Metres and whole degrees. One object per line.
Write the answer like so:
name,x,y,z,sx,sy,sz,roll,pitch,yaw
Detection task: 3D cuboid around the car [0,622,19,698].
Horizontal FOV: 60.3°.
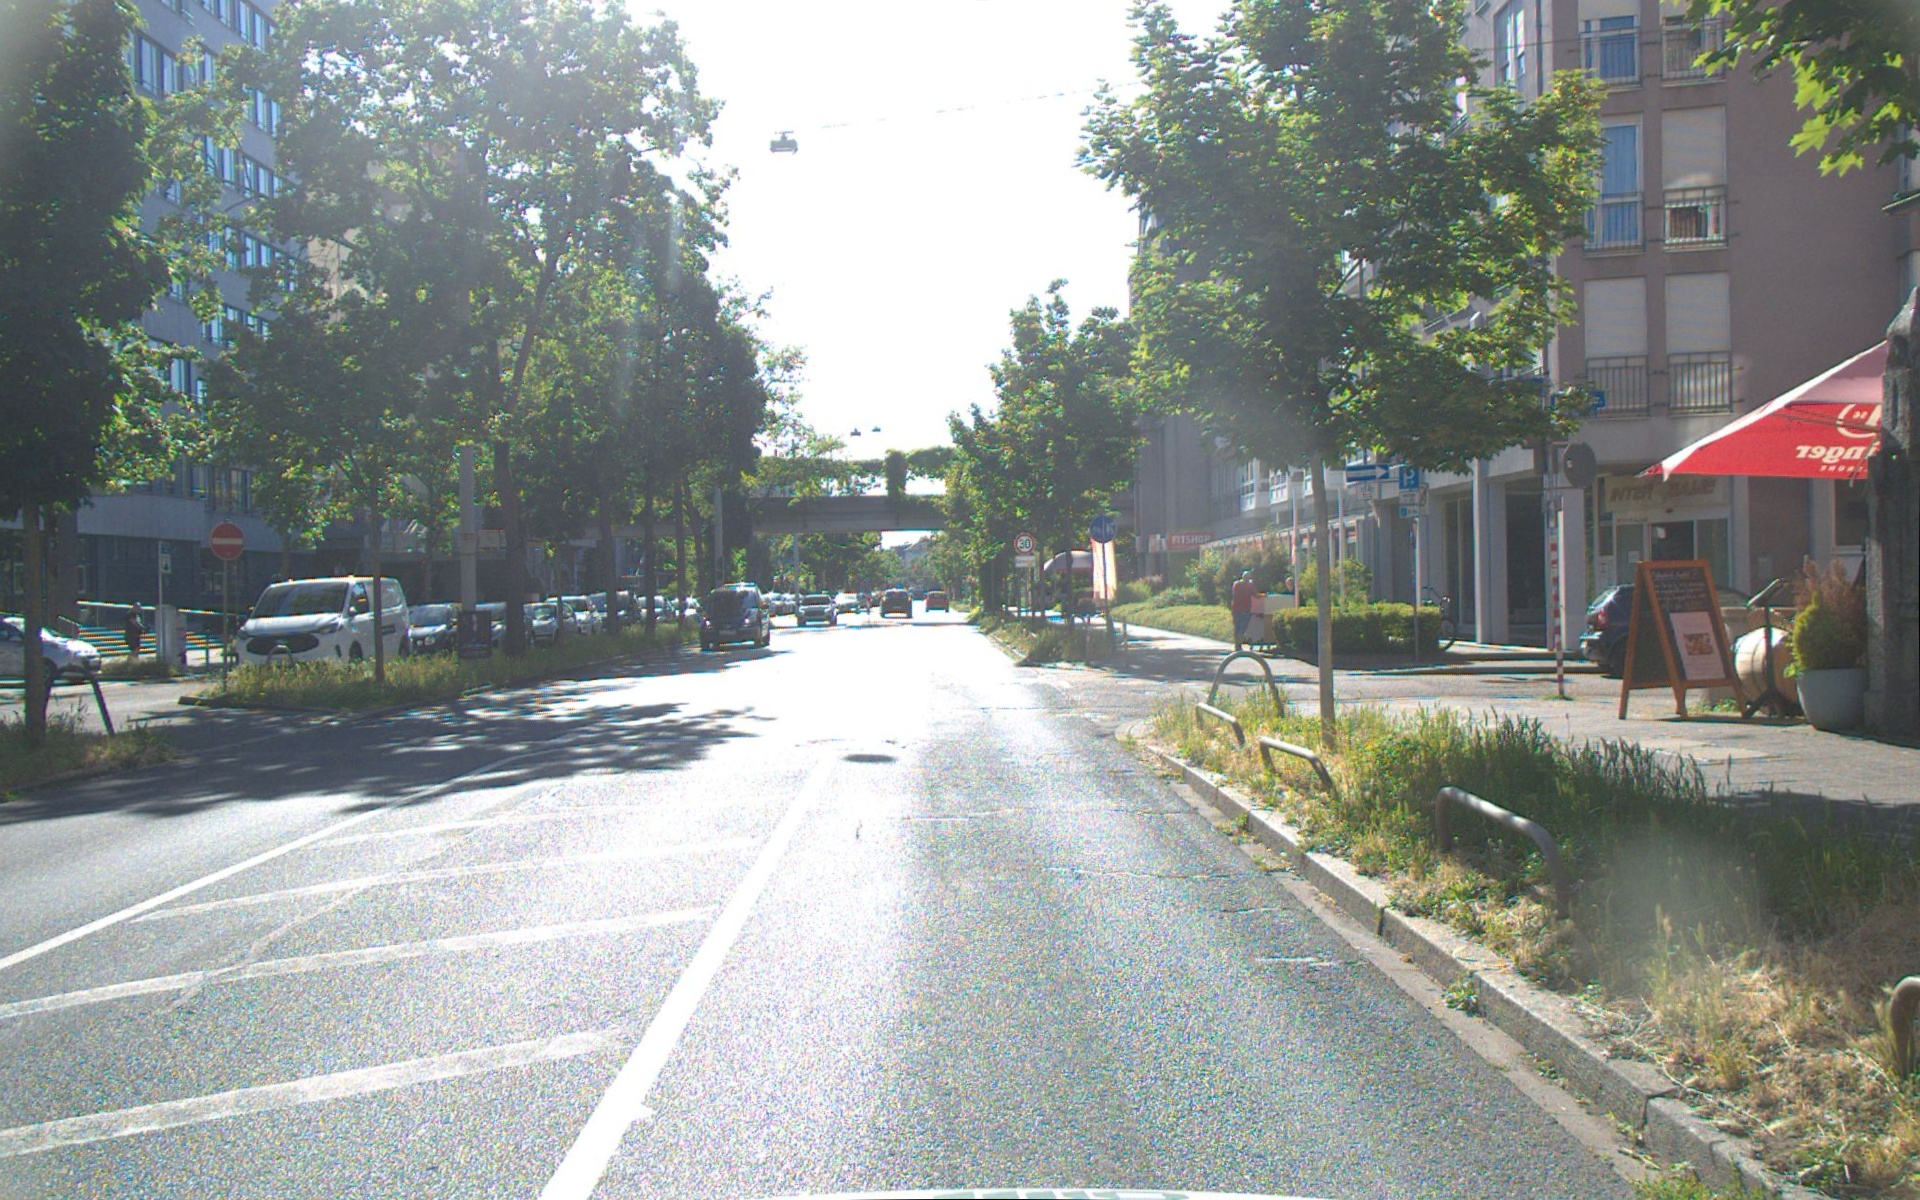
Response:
car,-20.988,1.169,31.988,4.516,1.468,1.938,0,0,4

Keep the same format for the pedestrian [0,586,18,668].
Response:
pedestrian,-25.258,0.708,43.234,0.755,2.130,0.792,1,-1,0

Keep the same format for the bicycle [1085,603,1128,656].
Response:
bicycle,3.148,0.611,35.448,0.578,1.084,2.024,0,0,15

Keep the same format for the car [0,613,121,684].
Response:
car,-21.537,1.077,37.337,4.219,1.549,1.860,0,0,-4

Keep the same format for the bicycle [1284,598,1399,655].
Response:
bicycle,7.703,0.537,33.458,2.150,1.045,0.687,-2,2,0

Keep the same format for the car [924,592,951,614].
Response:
car,-1.613,0.182,120.204,1.817,1.549,4.318,0,0,0

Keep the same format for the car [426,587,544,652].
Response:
car,-11.927,0.459,41.792,1.818,1.549,4.317,0,0,-2

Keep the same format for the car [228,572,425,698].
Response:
car,-11.838,0.602,31.317,1.942,2.112,5.192,-2,0,-4

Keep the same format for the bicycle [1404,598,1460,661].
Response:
bicycle,8.927,0.532,31.339,0.670,1.045,2.205,-2,2,7

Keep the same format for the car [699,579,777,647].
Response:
car,-6.587,0.359,49.501,1.819,1.857,4.607,-2,0,-2

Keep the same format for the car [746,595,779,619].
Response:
car,-13.057,0.442,109.376,1.818,1.549,4.075,0,0,-2

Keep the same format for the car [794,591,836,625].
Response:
car,-7.282,0.390,83.468,1.818,1.595,4.713,-2,0,-2

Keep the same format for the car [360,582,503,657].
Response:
car,-11.610,0.405,36.628,1.745,1.549,4.319,0,0,0

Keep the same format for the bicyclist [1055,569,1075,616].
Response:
bicyclist,3.841,-0.271,60.571,0.654,1.725,0.889,0,-1,-2

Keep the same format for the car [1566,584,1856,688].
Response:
car,11.773,0.537,26.170,3.860,1.549,1.863,0,0,12

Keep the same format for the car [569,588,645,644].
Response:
car,-12.312,0.544,57.985,1.818,1.882,4.560,0,0,-2

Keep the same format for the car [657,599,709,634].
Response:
car,-12.662,0.725,75.795,1.818,1.549,4.317,0,0,-2

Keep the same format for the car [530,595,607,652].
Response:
car,-12.296,0.710,52.238,1.820,1.713,4.658,0,0,-7

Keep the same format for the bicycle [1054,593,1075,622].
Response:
bicycle,3.825,0.274,60.554,0.577,1.045,1.859,0,-1,-2

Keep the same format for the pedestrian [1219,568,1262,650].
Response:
pedestrian,5.764,0.183,33.988,0.641,1.632,0.602,-3,-1,-7

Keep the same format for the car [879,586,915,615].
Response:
car,-3.576,0.013,93.660,1.945,1.628,4.138,0,0,-3

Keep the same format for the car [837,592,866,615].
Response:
car,-7.440,0.249,113.607,1.818,1.465,4.317,-2,0,-2

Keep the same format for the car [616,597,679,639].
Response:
car,-12.431,0.704,66.040,1.818,1.595,3.871,0,0,-1

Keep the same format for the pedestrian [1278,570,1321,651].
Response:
pedestrian,7.112,0.220,34.690,0.641,1.632,0.602,-3,-1,-7

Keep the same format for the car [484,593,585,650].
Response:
car,-12.070,0.580,47.190,1.818,1.549,4.063,0,0,0

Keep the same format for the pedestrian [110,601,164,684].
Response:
pedestrian,-20.689,1.069,41.607,0.818,2.049,1.008,1,-1,-1
